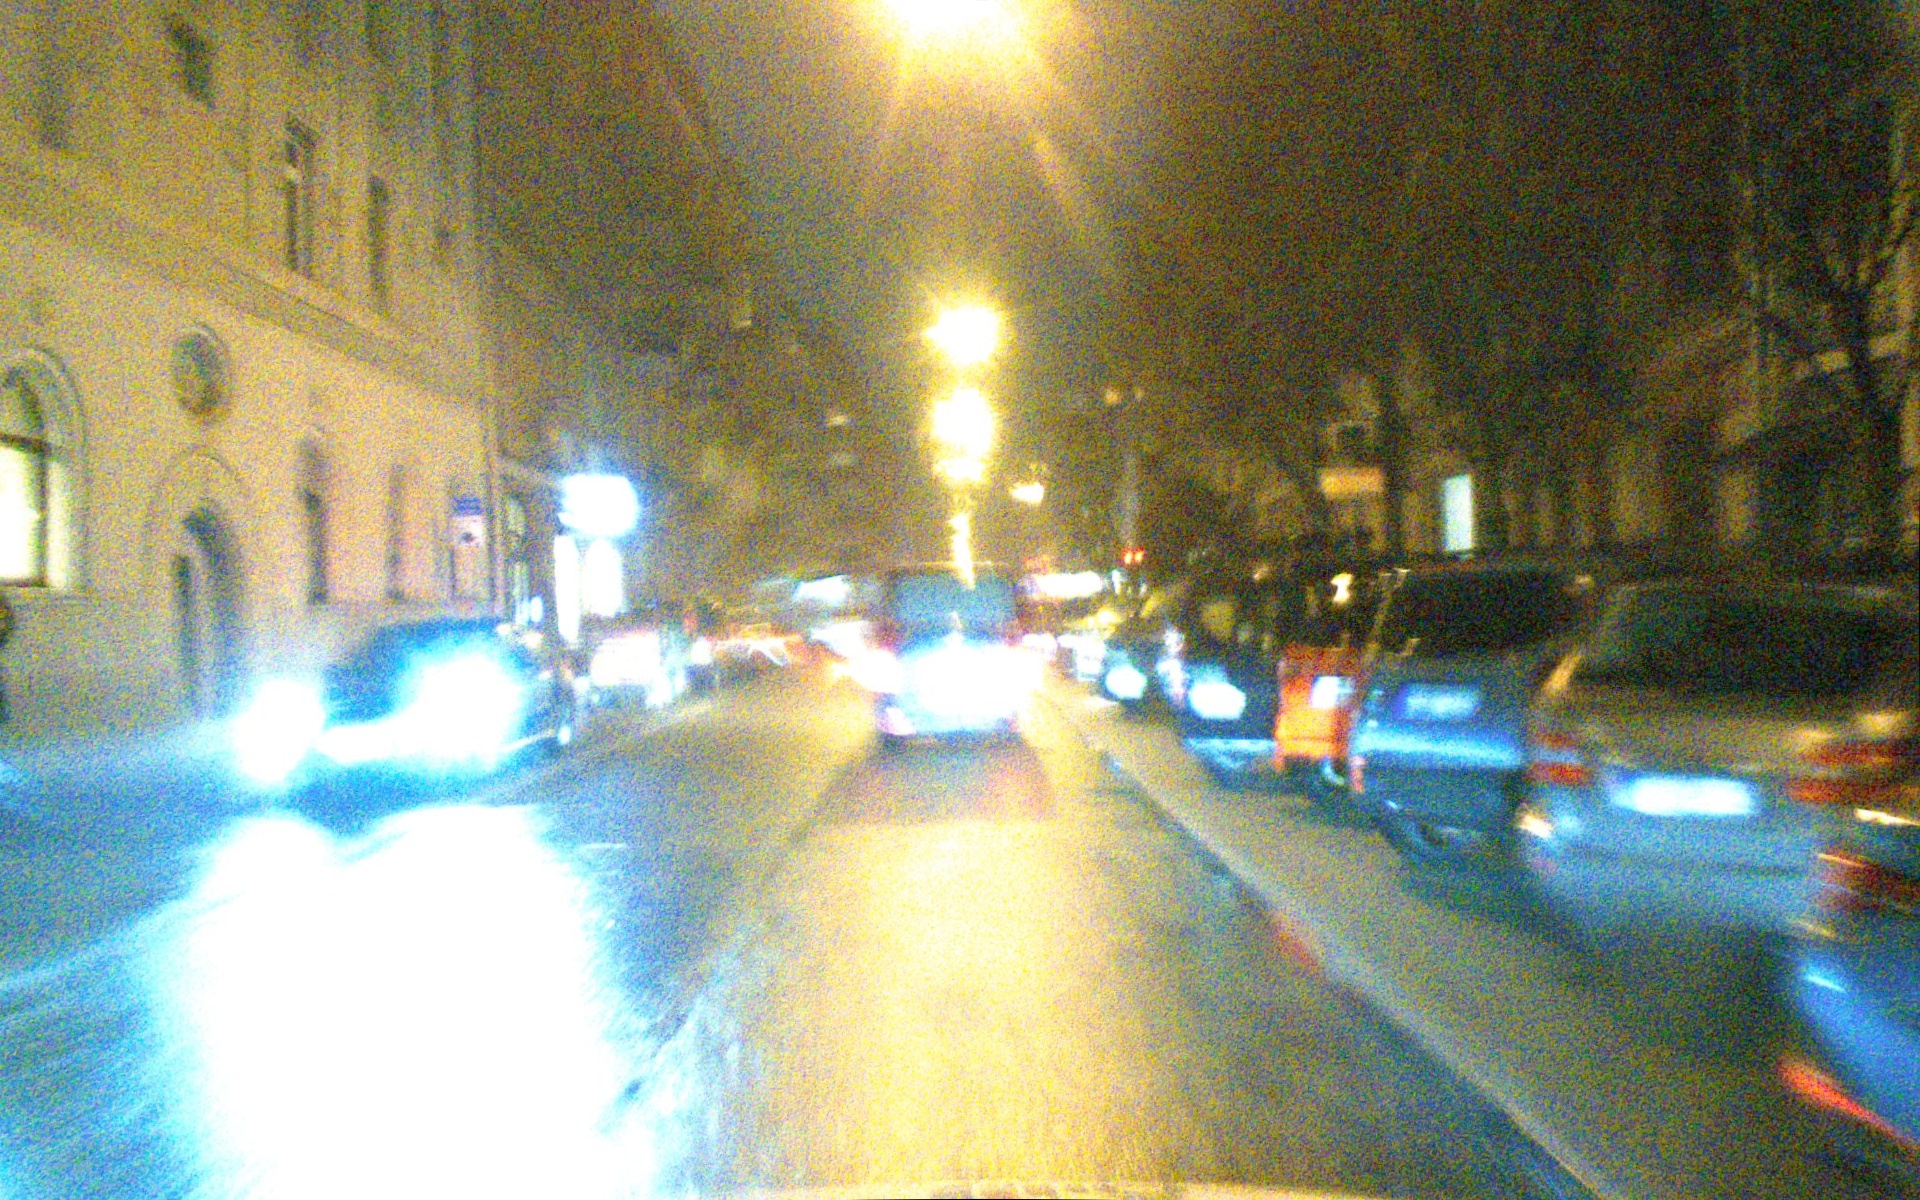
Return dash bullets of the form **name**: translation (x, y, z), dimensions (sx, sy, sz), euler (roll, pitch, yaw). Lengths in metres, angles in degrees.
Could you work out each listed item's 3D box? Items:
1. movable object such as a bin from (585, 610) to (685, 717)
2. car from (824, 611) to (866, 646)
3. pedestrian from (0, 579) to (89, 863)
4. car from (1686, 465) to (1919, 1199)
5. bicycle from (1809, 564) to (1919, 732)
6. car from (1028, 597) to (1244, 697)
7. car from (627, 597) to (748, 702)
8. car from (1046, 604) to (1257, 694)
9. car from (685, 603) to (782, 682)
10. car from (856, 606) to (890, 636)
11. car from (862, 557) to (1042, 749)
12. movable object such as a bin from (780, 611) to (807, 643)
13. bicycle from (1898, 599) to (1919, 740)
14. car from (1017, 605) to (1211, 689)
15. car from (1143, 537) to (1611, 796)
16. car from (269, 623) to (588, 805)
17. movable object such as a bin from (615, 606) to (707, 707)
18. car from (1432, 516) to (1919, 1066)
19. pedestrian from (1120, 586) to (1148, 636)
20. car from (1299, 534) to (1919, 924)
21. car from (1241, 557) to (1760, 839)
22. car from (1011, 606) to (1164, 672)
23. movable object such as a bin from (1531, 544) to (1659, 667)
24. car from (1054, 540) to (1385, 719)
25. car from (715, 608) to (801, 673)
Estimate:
- **movable object such as a bin**: translation (-4.639, 0.894, 23.709), dimensions (1.183, 1.485, 1.107), euler (0, -1, 2)
- **car**: translation (-5.123, 1.270, 74.015), dimensions (1.554, 1.508, 3.793), euler (-1, 0, 1)
- **pedestrian**: translation (-6.544, 0.782, 10.952), dimensions (1.109, 1.814, 0.788), euler (-1, 0, -1)
- **car**: translation (3.736, 0.630, 3.628), dimensions (4.047, 1.795, 1.841), euler (0, 0, -28)
- **bicycle**: translation (8.497, 0.355, 14.178), dimensions (1.930, 1.358, 0.783), euler (-4, -1, 6)
- **car**: translation (3.173, 0.815, 29.687), dimensions (3.604, 1.569, 1.544), euler (-2, -1, -31)
- **car**: translation (-4.836, 0.841, 29.764), dimensions (1.571, 1.736, 3.720), euler (-1, 0, -1)
- **car**: translation (3.870, 0.960, 33.205), dimensions (3.960, 1.579, 1.972), euler (-2, -1, -39)
- **car**: translation (-4.829, 0.870, 35.711), dimensions (1.571, 1.579, 4.024), euler (0, 0, -1)
- **car**: translation (-4.760, 1.110, 89.695), dimensions (1.777, 1.585, 4.073), euler (-1, 0, -4)
- **car**: translation (-0.096, 0.618, 20.238), dimensions (1.953, 2.086, 3.999), euler (-1, -1, 0)
- **movable object such as a bin**: translation (-7.392, 1.184, 73.329), dimensions (1.026, 1.423, 1.158), euler (0, 0, 2)
- **bicycle**: translation (8.305, 0.463, 12.707), dimensions (1.935, 1.073, 0.509), euler (-4, -1, -7)
- **car**: translation (3.366, 0.990, 35.782), dimensions (3.955, 1.579, 1.782), euler (-2, -1, -36)
- **car**: translation (3.799, 0.502, 14.760), dimensions (4.202, 1.891, 1.695), euler (-4, -1, -36)
- **car**: translation (-4.734, 0.940, 15.363), dimensions (1.620, 1.383, 4.221), euler (-1, 0, -1)
- **movable object such as a bin**: translation (-4.490, 0.840, 24.912), dimensions (1.140, 1.485, 1.107), euler (0, -1, 2)
- **car**: translation (4.028, 0.561, 6.786), dimensions (4.009, 1.639, 1.824), euler (0, 0, -32)
- **pedestrian**: translation (6.816, 0.427, 64.686), dimensions (0.851, 1.888, 0.992), euler (-3, 0, -3)
- **car**: translation (3.836, 0.573, 9.290), dimensions (3.761, 1.759, 1.719), euler (-1, 0, -36)
- **car**: translation (4.005, 0.606, 12.094), dimensions (3.729, 1.759, 1.696), euler (0, 0, -34)
- **car**: translation (3.291, 1.000, 42.633), dimensions (3.632, 1.486, 1.589), euler (-3, 0, -29)
- **movable object such as a bin**: translation (8.446, 0.075, 22.049), dimensions (1.185, 1.476, 0.998), euler (-6, -1, 0)
- **car**: translation (3.791, 0.371, 23.768), dimensions (4.675, 2.287, 1.921), euler (-2, -1, -37)
- **car**: translation (-4.956, 0.969, 41.099), dimensions (1.652, 1.481, 4.314), euler (0, 0, -1)
